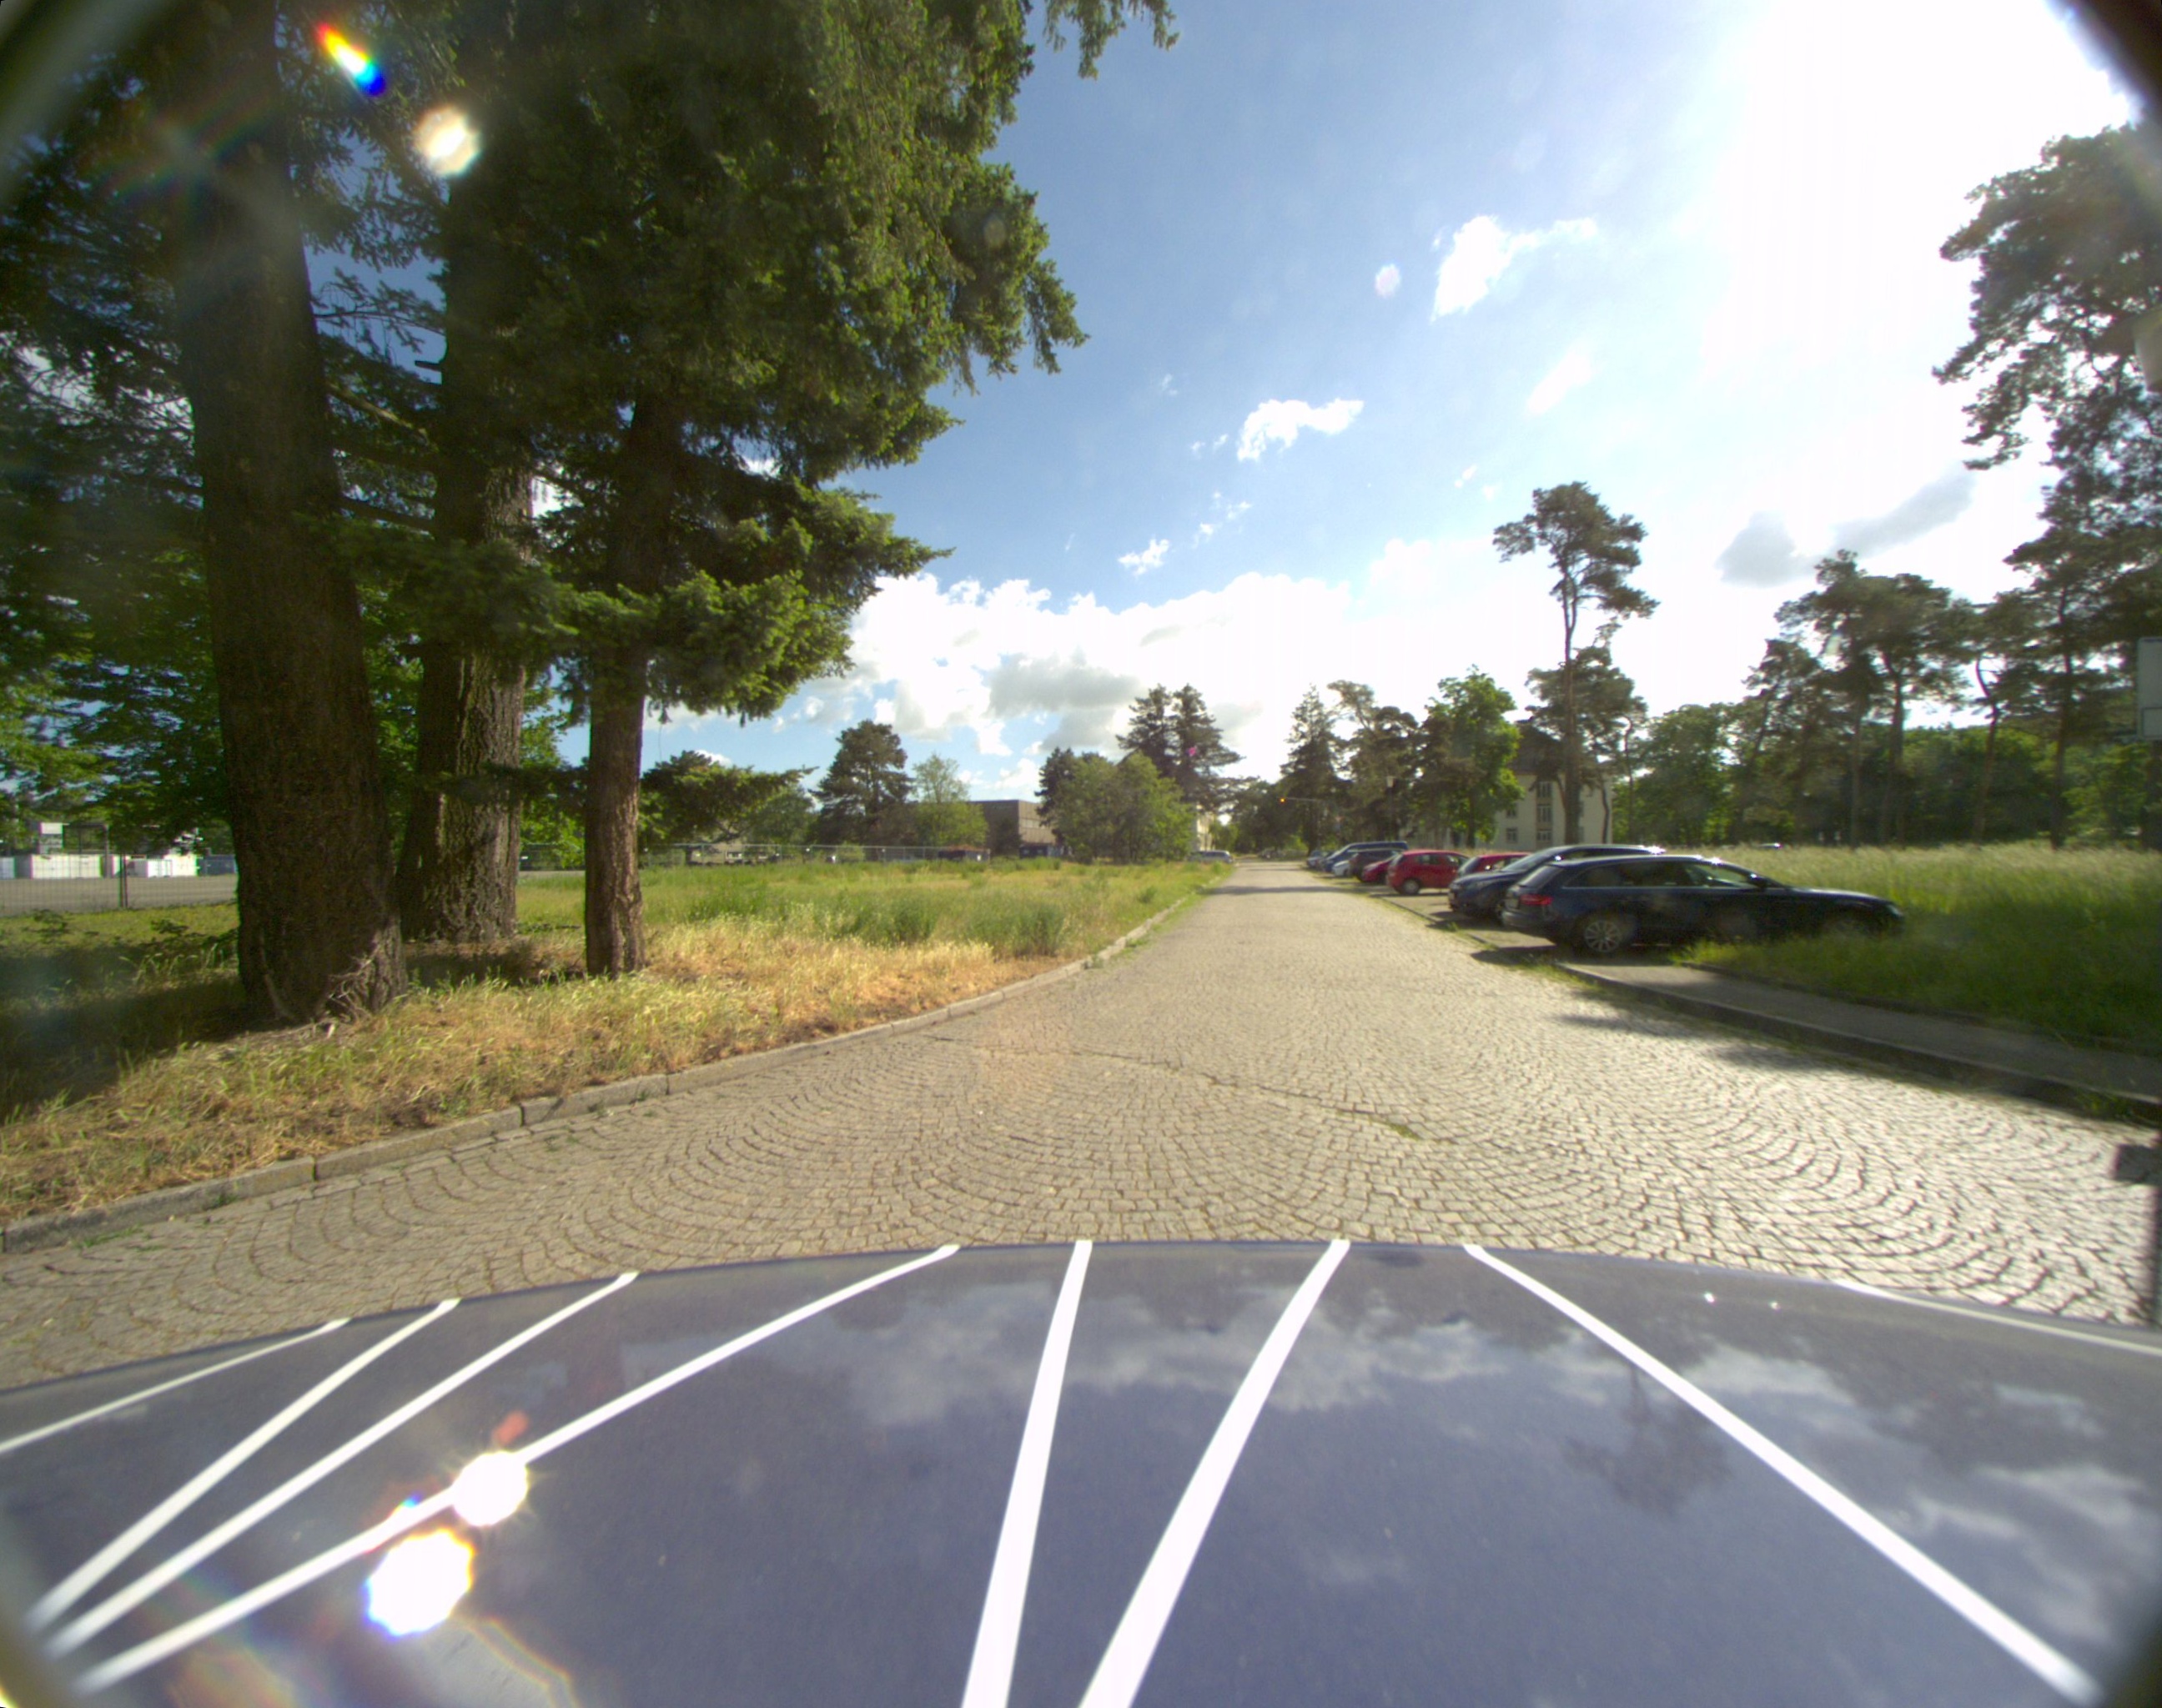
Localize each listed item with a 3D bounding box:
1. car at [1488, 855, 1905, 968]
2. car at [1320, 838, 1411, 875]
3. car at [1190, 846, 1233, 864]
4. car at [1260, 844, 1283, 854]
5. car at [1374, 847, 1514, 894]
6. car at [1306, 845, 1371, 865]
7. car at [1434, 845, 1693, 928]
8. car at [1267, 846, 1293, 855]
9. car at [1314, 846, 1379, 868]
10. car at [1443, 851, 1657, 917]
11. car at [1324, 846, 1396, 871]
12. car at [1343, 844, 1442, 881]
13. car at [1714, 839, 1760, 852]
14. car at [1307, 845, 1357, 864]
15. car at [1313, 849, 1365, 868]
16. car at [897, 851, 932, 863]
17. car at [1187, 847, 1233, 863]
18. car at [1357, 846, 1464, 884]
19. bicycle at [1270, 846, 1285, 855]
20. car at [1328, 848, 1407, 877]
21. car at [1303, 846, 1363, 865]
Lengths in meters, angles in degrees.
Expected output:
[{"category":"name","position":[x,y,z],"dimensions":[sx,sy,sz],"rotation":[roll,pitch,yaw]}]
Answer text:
[{"category":"car","position":[8.654,0.785,11.201],"dimensions":[4.365,1.436,1.923],"rotation":[-1,0,16]},{"category":"car","position":[16.584,0.127,44.566],"dimensions":[4.725,1.956,2.007],"rotation":[-2,1,13]},{"category":"car","position":[11.900,0.077,69.186],"dimensions":[3.746,1.468,1.753],"rotation":[2,2,12]},{"category":"car","position":[36.952,-0.986,147.467],"dimensions":[4.222,1.903,1.818],"rotation":[0,1,3]},{"category":"car","position":[12.227,0.553,25.827],"dimensions":[3.929,1.452,1.844],"rotation":[-2,0,12]},{"category":"car","position":[21.056,0.103,62.373],"dimensions":[4.872,1.413,1.940],"rotation":[-2,1,14]},{"category":"car","position":[9.816,0.652,15.827],"dimensions":[4.141,1.570,1.886],"rotation":[-1,0,13]},{"category":"car","position":[34.076,-0.641,130.330],"dimensions":[4.040,1.514,1.818],"rotation":[0,1,5]},{"category":"car","position":[18.328,0.201,52.611],"dimensions":[4.082,1.417,1.925],"rotation":[-2,0,14]},{"category":"car","position":[10.936,0.686,18.027],"dimensions":[3.929,1.424,1.844],"rotation":[-1,0,15]},{"category":"car","position":[18.195,0.307,49.680],"dimensions":[4.202,1.466,1.825],"rotation":[-2,0,13]},{"category":"car","position":[14.622,0.419,35.886],"dimensions":[3.960,1.558,1.976],"rotation":[-2,0,12]},{"category":"car","position":[83.467,-1.108,96.675],"dimensions":[4.101,1.572,1.722],"rotation":[0,1,15]},{"category":"car","position":[22.325,0.048,67.659],"dimensions":[4.033,1.474,1.951],"rotation":[-2,0,12]},{"category":"car","position":[19.642,0.333,58.020],"dimensions":[3.636,1.227,1.761],"rotation":[-2,1,14]},{"category":"car","position":[-20.892,0.361,95.302],"dimensions":[3.993,1.413,1.747],"rotation":[-1,-1,13]},{"category":"car","position":[13.138,0.056,77.098],"dimensions":[4.520,1.456,1.840],"rotation":[2,2,10]},{"category":"car","position":[14.281,0.472,33.158],"dimensions":[3.929,1.440,1.868],"rotation":[-2,0,12]},{"category":"bicycle","position":[30.028,-0.537,116.005],"dimensions":[2.112,1.276,0.622],"rotation":[-6,0,10]},{"category":"car","position":[15.834,0.446,42.117],"dimensions":[3.822,1.432,1.684],"rotation":[-2,1,10]},{"category":"car","position":[21.568,0.107,65.145],"dimensions":[4.589,1.443,1.985],"rotation":[-2,1,10]}]
